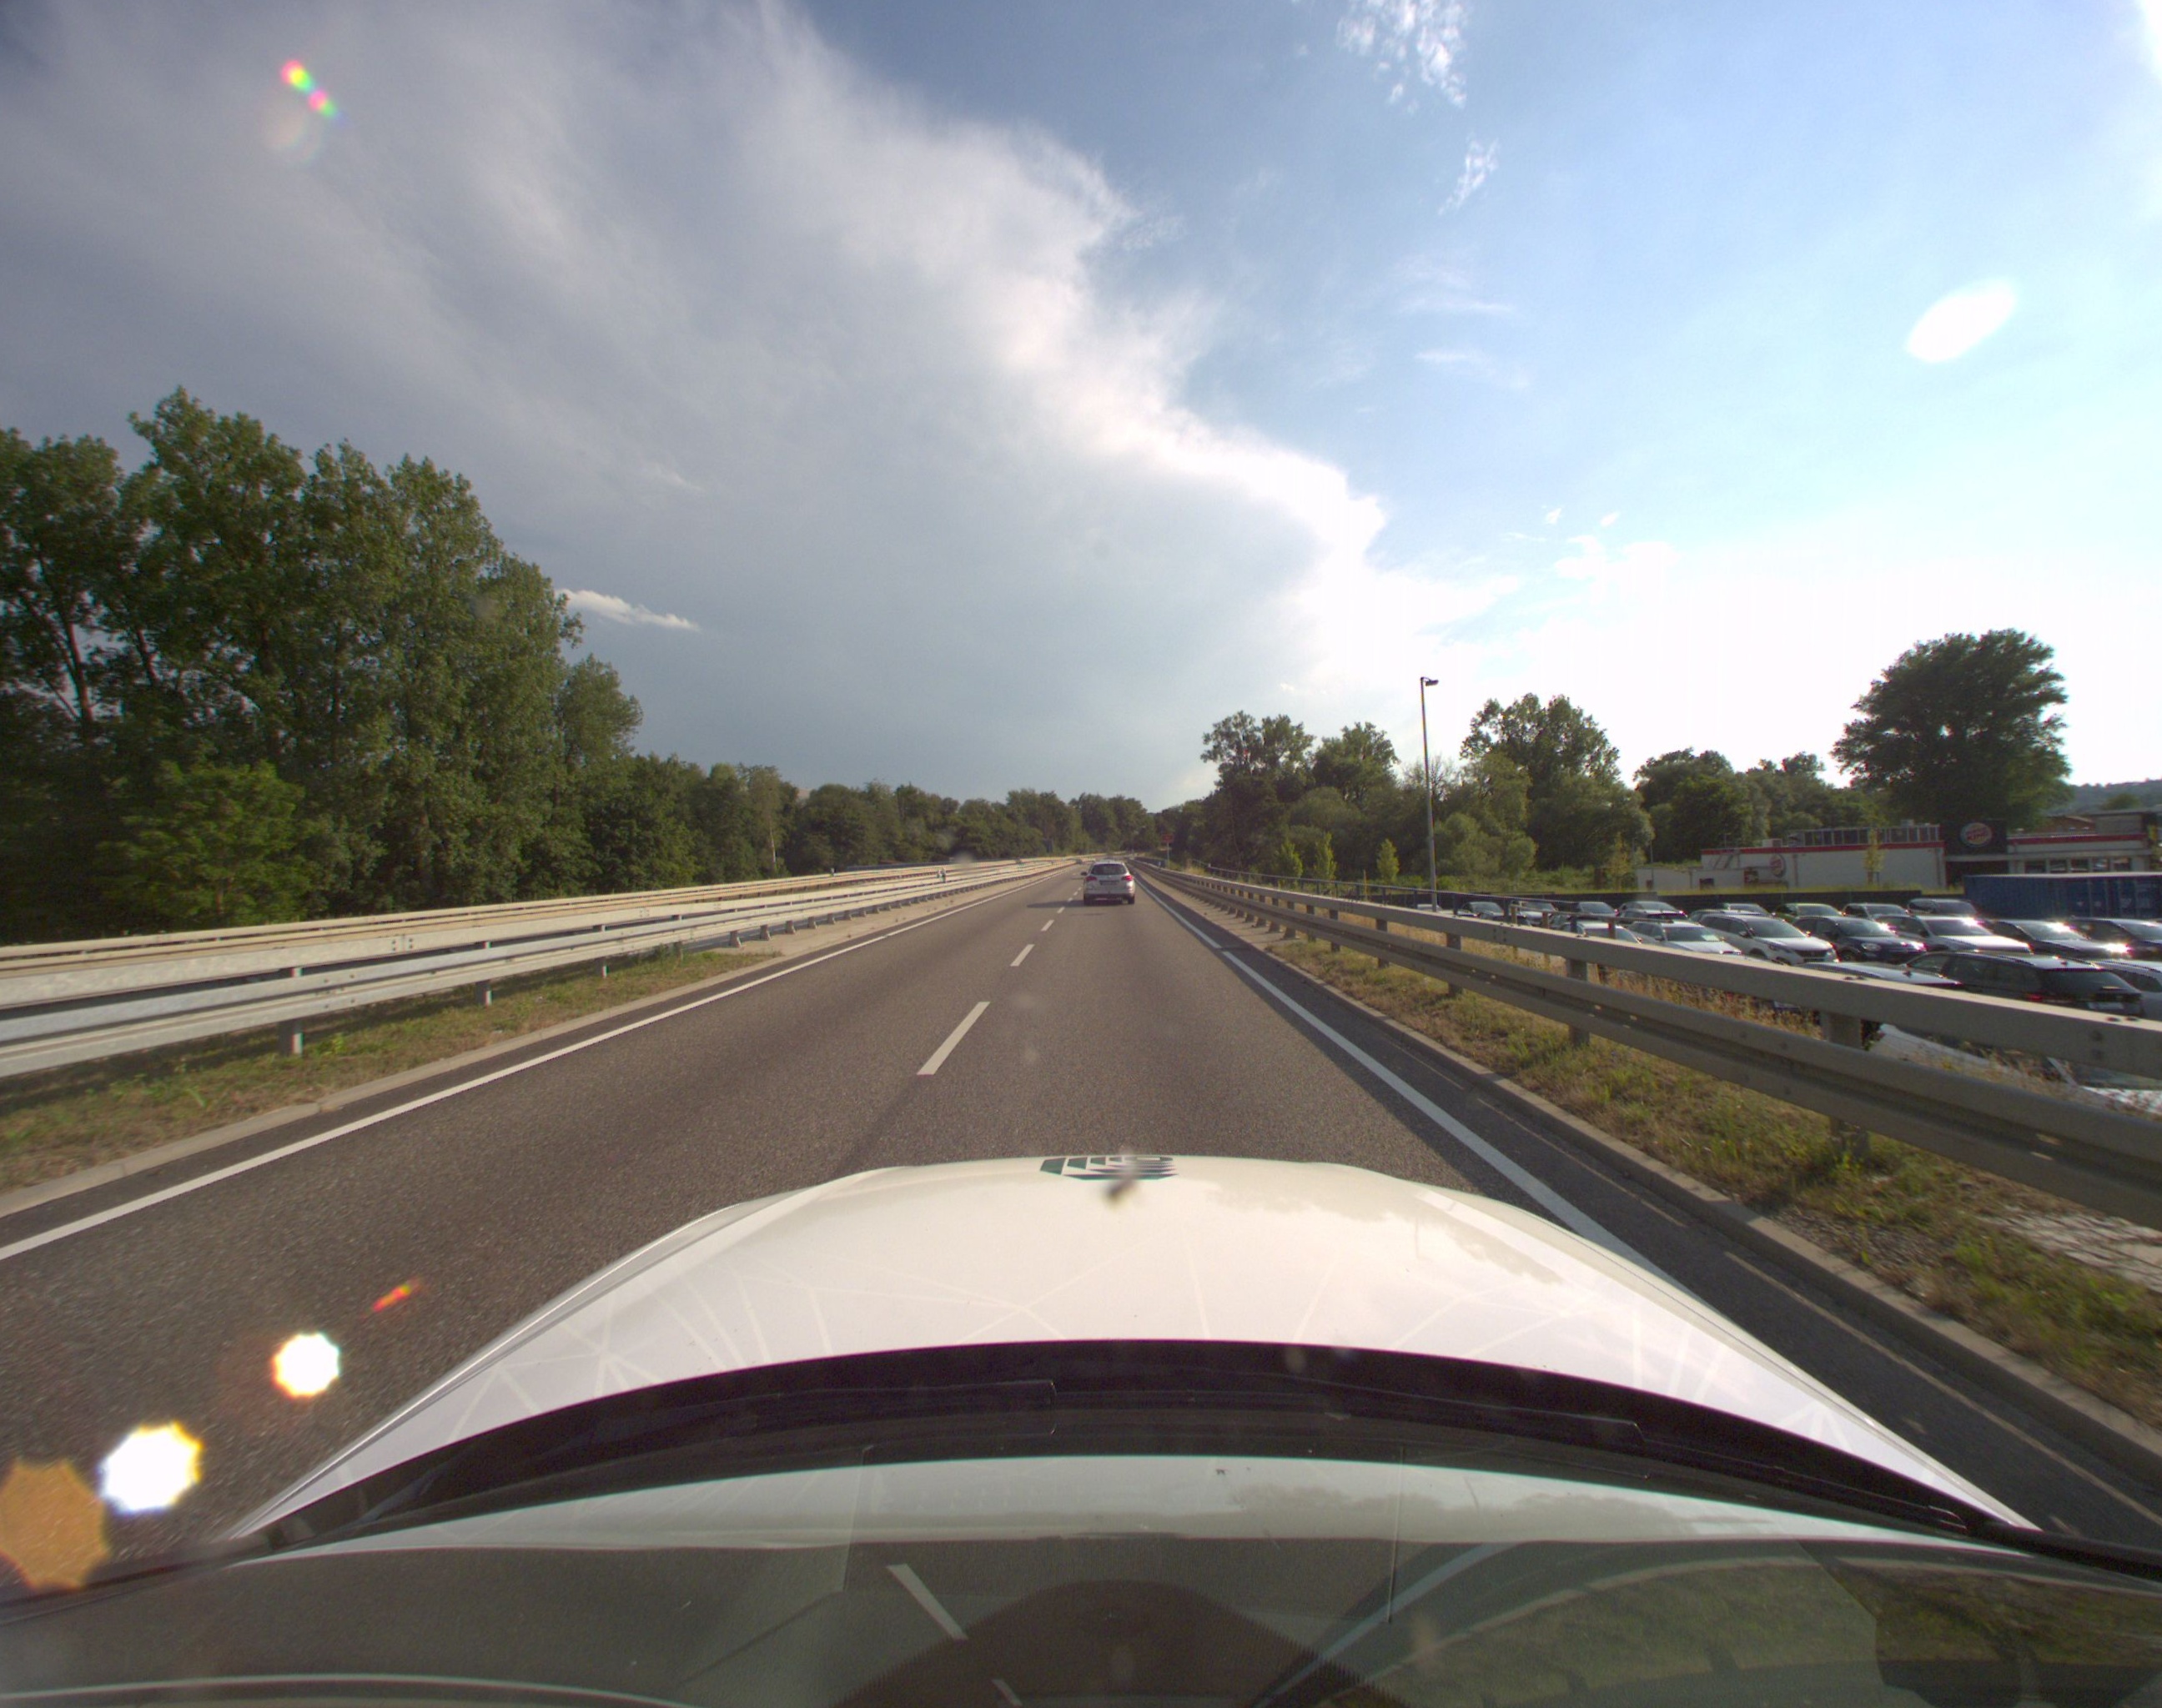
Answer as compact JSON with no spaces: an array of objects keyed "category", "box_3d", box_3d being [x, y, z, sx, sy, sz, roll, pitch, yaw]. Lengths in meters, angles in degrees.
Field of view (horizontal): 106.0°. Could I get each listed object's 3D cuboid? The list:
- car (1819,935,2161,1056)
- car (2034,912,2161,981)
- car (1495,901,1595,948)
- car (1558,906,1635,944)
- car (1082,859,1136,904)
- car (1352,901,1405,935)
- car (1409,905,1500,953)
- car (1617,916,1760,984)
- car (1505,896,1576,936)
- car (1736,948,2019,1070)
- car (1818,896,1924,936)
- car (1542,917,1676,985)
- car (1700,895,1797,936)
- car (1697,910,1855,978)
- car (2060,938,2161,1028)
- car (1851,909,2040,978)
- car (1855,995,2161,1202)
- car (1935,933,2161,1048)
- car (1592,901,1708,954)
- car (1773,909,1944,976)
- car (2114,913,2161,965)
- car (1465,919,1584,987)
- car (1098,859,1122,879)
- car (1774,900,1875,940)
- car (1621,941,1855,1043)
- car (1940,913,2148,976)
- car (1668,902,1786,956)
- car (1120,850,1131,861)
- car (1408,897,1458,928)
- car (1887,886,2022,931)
[{"category":"car","box_3d":[17.997,2.675,16.429,1.992,1.650,4.730,0,-1,1]},{"category":"car","box_3d":[30.617,2.650,23.515,1.766,1.684,4.007,0,-1,6]},{"category":"car","box_3d":[17.236,2.583,30.466,1.698,1.464,4.004,0,-1,4]},{"category":"car","box_3d":[24.458,3.344,38.770,1.939,1.464,4.015,-1,-1,14]},{"category":"car","box_3d":[0.984,0.938,29.079,1.802,1.486,4.001,0,-1,1]},{"category":"car","box_3d":[15.391,3.296,42.285,1.697,1.464,4.007,0,-1,7]},{"category":"car","box_3d":[13.921,2.767,30.602,1.699,1.464,4.002,0,-1,2]},{"category":"car","box_3d":[18.866,2.920,25.543,1.766,1.684,4.006,0,-1,5]},{"category":"car","box_3d":[22.307,2.985,39.721,1.939,1.642,4.259,-1,-1,14]},{"category":"car","box_3d":[15.435,2.918,16.138,1.768,1.684,4.002,0,-1,2]},{"category":"car","box_3d":[34.460,2.662,35.671,1.692,1.464,4.018,-1,-1,17]},{"category":"car","box_3d":[16.461,2.973,25.639,1.768,1.684,4.002,0,-1,3]},{"category":"car","box_3d":[29.526,2.681,36.183,1.794,1.502,4.015,-1,-1,14]},{"category":"car","box_3d":[21.311,2.712,25.209,1.766,1.684,4.007,0,-1,6]},{"category":"car","box_3d":[22.746,2.691,15.850,1.872,1.636,4.734,0,-1,3]},{"category":"car","box_3d":[26.046,2.633,24.771,1.766,1.684,4.007,0,-1,6]},{"category":"car","box_3d":[12.929,3.051,10.884,1.606,1.679,3.838,0,-1,2]},{"category":"car","box_3d":[20.364,2.644,16.229,1.829,1.716,4.667,0,-1,1]},{"category":"car","box_3d":[21.323,2.715,30.741,1.697,1.623,4.362,0,-1,7]},{"category":"car","box_3d":[23.860,2.653,25.217,1.766,1.684,4.007,0,-1,6]},{"category":"car","box_3d":[33.016,2.566,23.461,1.697,1.464,4.007,0,-1,6]},{"category":"car","box_3d":[14.003,3.075,25.972,1.768,1.684,4.002,0,-1,3]},{"category":"car","box_3d":[2.213,1.120,62.607,1.802,1.486,4.001,0,-1,1]},{"category":"car","box_3d":[32.177,2.816,35.408,1.692,1.464,4.018,-1,-1,17]},{"category":"car","box_3d":[13.285,2.731,16.833,1.699,1.464,4.001,0,-1,2]},{"category":"car","box_3d":[28.362,2.606,24.216,1.697,1.464,4.007,0,-1,6]},{"category":"car","box_3d":[23.790,2.724,30.194,1.939,1.643,4.015,-1,-1,14]},{"category":"car","box_3d":[8.146,0.259,149.758,1.986,2.014,4.001,0,-1,1]},{"category":"car","box_3d":[18.065,2.986,41.973,1.804,1.354,4.016,-1,-1,15]},{"category":"car","box_3d":[36.149,2.209,33.876,1.939,1.594,4.015,-1,-1,14]}]
